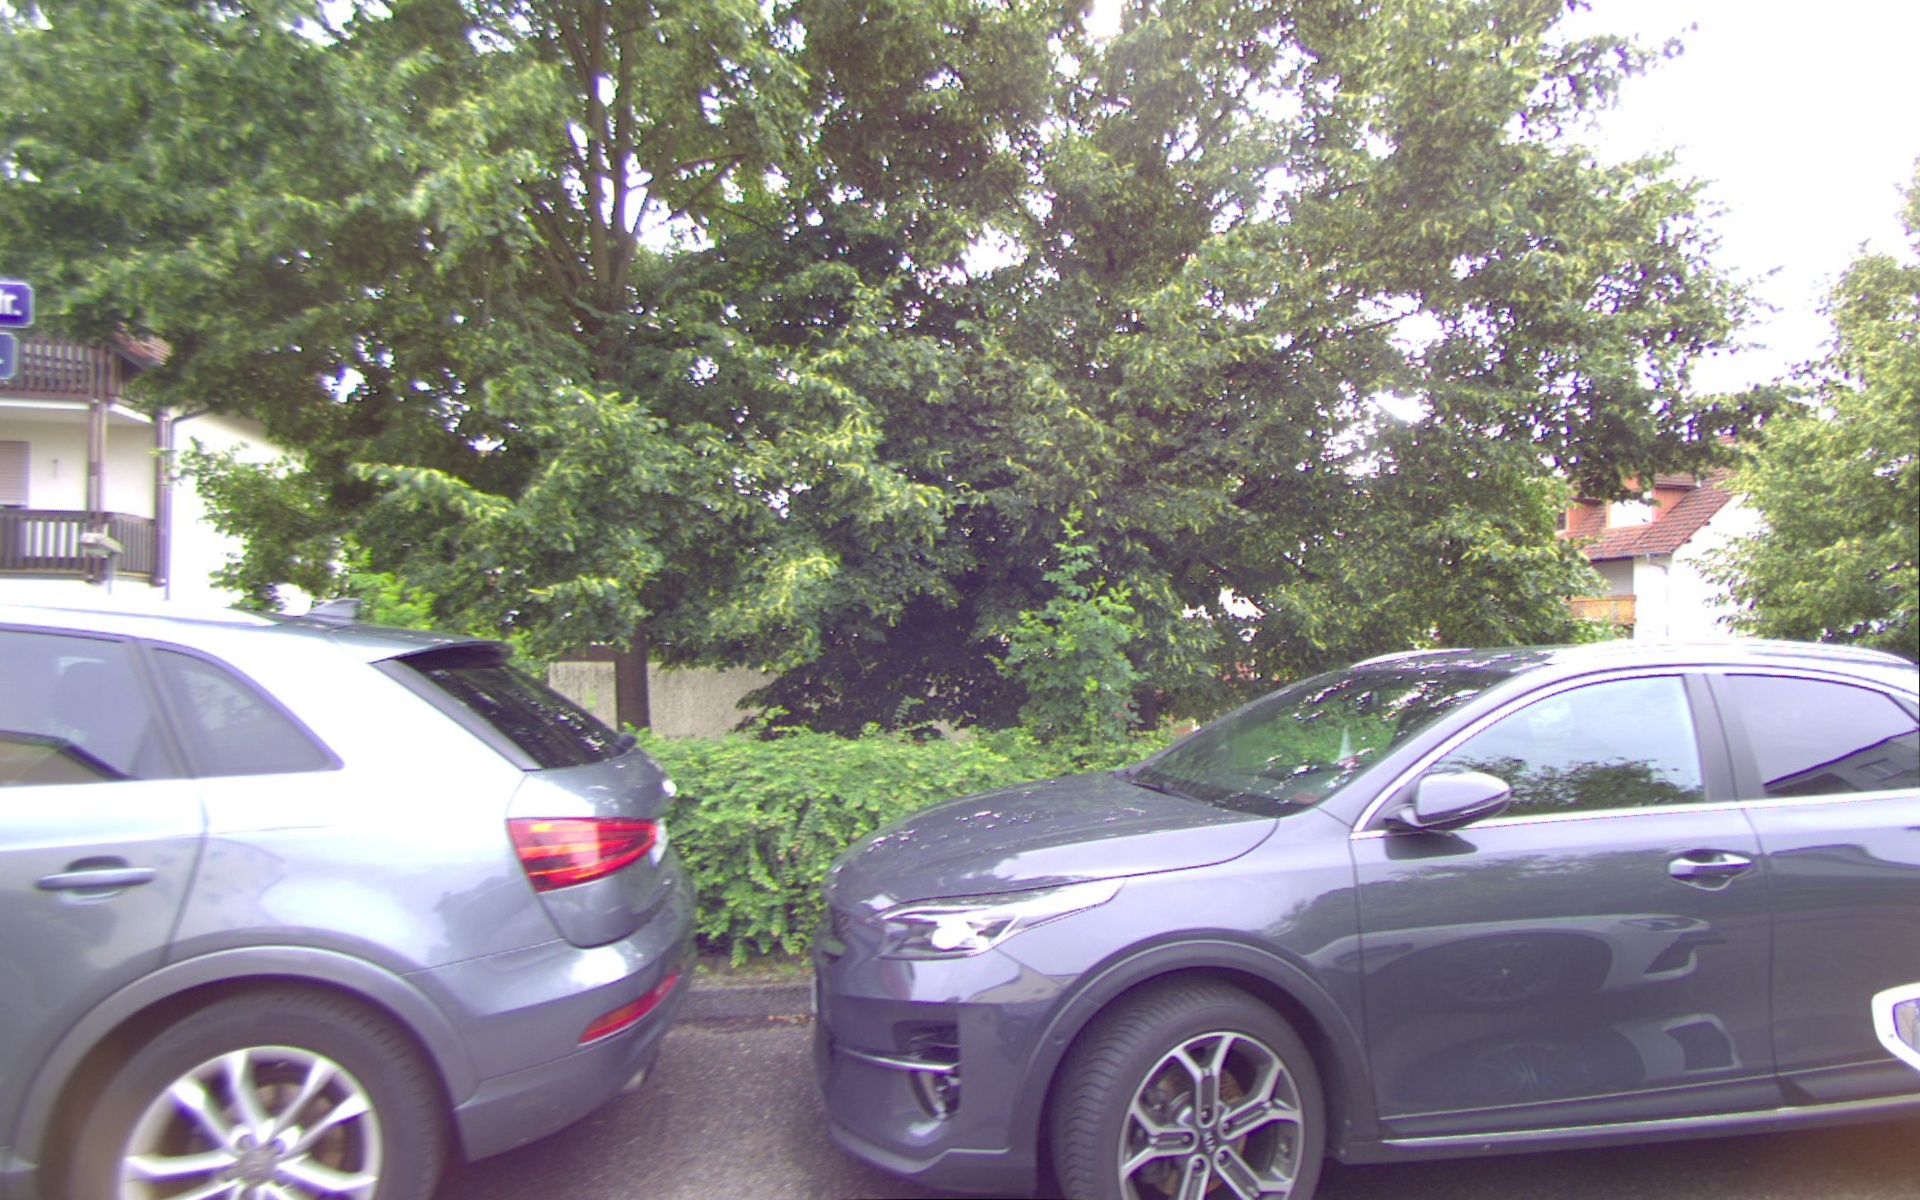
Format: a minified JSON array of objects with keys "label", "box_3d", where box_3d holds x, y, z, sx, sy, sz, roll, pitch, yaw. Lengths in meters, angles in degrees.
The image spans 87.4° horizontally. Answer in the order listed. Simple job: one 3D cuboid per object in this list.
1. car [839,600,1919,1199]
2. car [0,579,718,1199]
[{"label":"car","box_3d":[1.697,0.851,3.298,4.118,1.551,1.746,1,-4,-8]},{"label":"car","box_3d":[-2.781,0.777,2.522,4.178,1.551,1.744,1,-4,-13]}]
